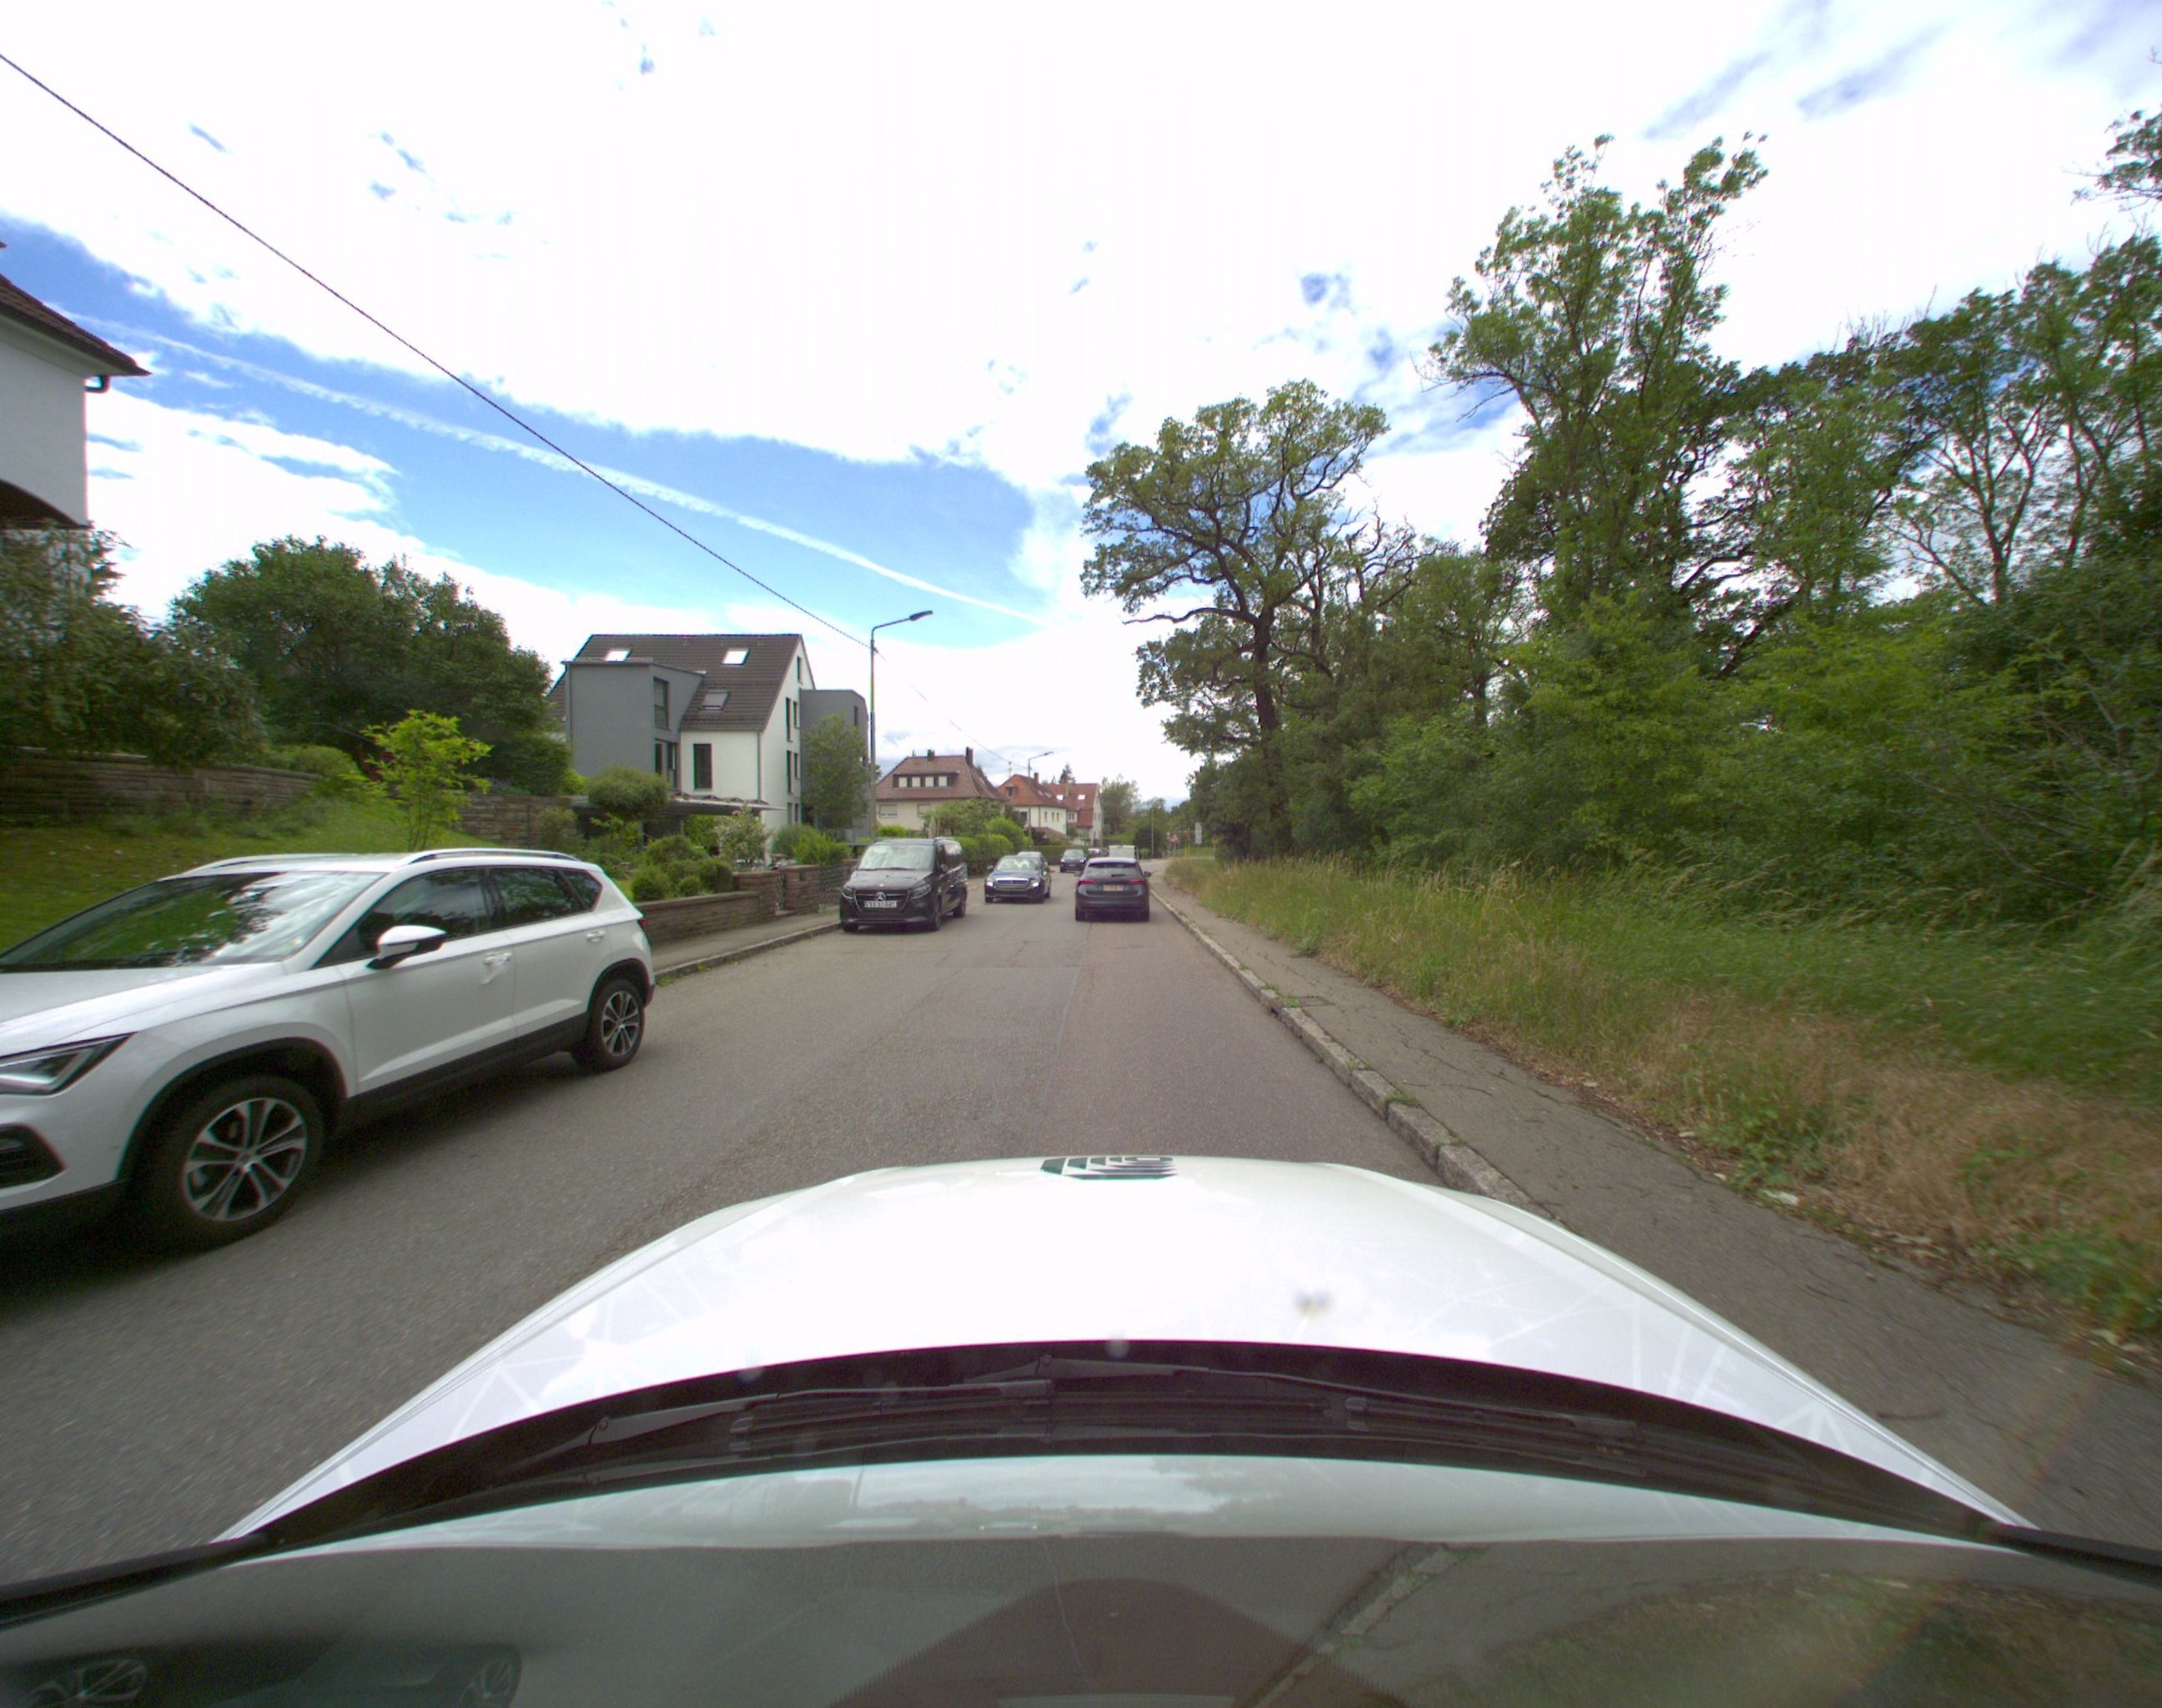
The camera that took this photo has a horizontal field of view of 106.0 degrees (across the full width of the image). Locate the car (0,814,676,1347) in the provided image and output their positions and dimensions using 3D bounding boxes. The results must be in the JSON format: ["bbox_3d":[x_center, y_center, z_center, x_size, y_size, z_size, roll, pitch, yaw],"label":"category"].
[{"bbox_3d":[-4.275,0.734,4.567,1.832,1.648,4.185,-2,0,0],"label":"car"}]

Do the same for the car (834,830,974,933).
[{"bbox_3d":[-3.694,0.518,17.978,1.856,1.926,5.039,1,0,1],"label":"car"}]

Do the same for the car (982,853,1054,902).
[{"bbox_3d":[-1.946,0.686,26.349,1.856,1.414,4.593,1,0,1],"label":"car"}]

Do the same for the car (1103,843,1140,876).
[{"bbox_3d":[2.586,0.302,50.821,2.061,1.922,4.930,0,0,5],"label":"car"}]

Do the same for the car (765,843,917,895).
[{"bbox_3d":[-8.142,0.483,27.968,4.603,1.697,1.999,0,0,-2],"label":"car"}]

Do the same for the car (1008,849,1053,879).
[{"bbox_3d":[-2.616,0.511,43.165,1.775,1.500,4.020,1,0,5],"label":"car"}]

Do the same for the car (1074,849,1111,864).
[{"bbox_3d":[1.333,0.295,93.036,3.969,1.706,1.919,1,0,4],"label":"car"}]

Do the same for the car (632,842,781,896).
[{"bbox_3d":[-12.674,0.469,27.793,4.111,1.697,1.999,0,2,-2],"label":"car"}]

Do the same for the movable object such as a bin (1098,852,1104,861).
[{"bbox_3d":[2.068,0.306,85.440,0.596,0.951,0.581,0,0,8],"label":"movable object such as a bin"}]

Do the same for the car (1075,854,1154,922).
[{"bbox_3d":[0.722,0.749,20.064,1.723,1.439,4.322,0,0,-1],"label":"car"}]

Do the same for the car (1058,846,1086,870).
[{"bbox_3d":[-0.625,0.270,58.328,1.827,1.597,4.325,0,1,1],"label":"car"}]

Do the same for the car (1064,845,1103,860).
[{"bbox_3d":[0.332,-0.203,89.087,3.962,1.618,2.006,0,0,10],"label":"car"}]
